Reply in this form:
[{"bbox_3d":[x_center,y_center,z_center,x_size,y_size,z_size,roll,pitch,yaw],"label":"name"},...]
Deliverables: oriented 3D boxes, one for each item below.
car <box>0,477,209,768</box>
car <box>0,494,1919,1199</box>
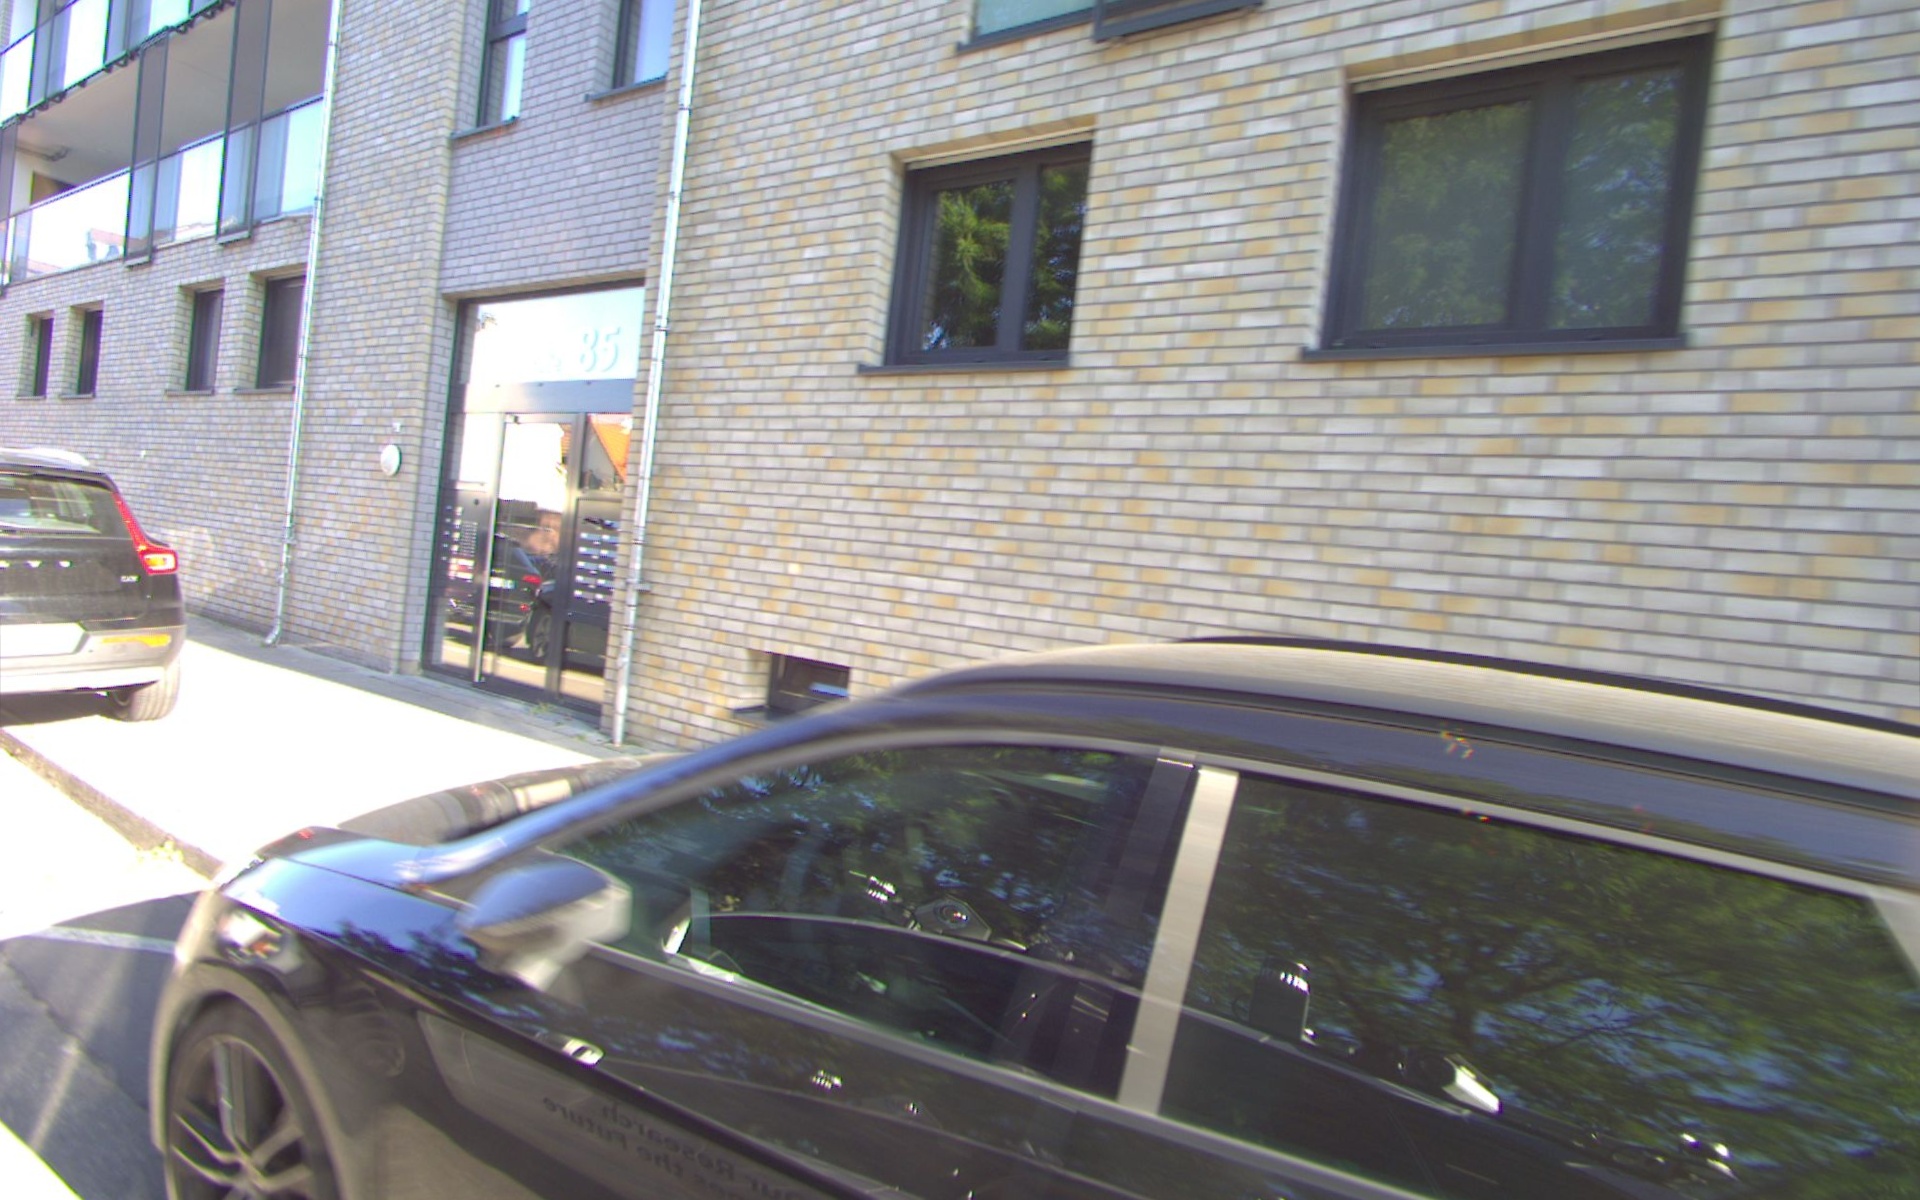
[{"bbox_3d":[-6.667,-0.094,6.177,4.199,1.485,1.818,7,0,32],"label":"car"},{"bbox_3d":[0.265,0.785,1.823,4.639,1.486,1.698,7,2,29],"label":"car"}]
